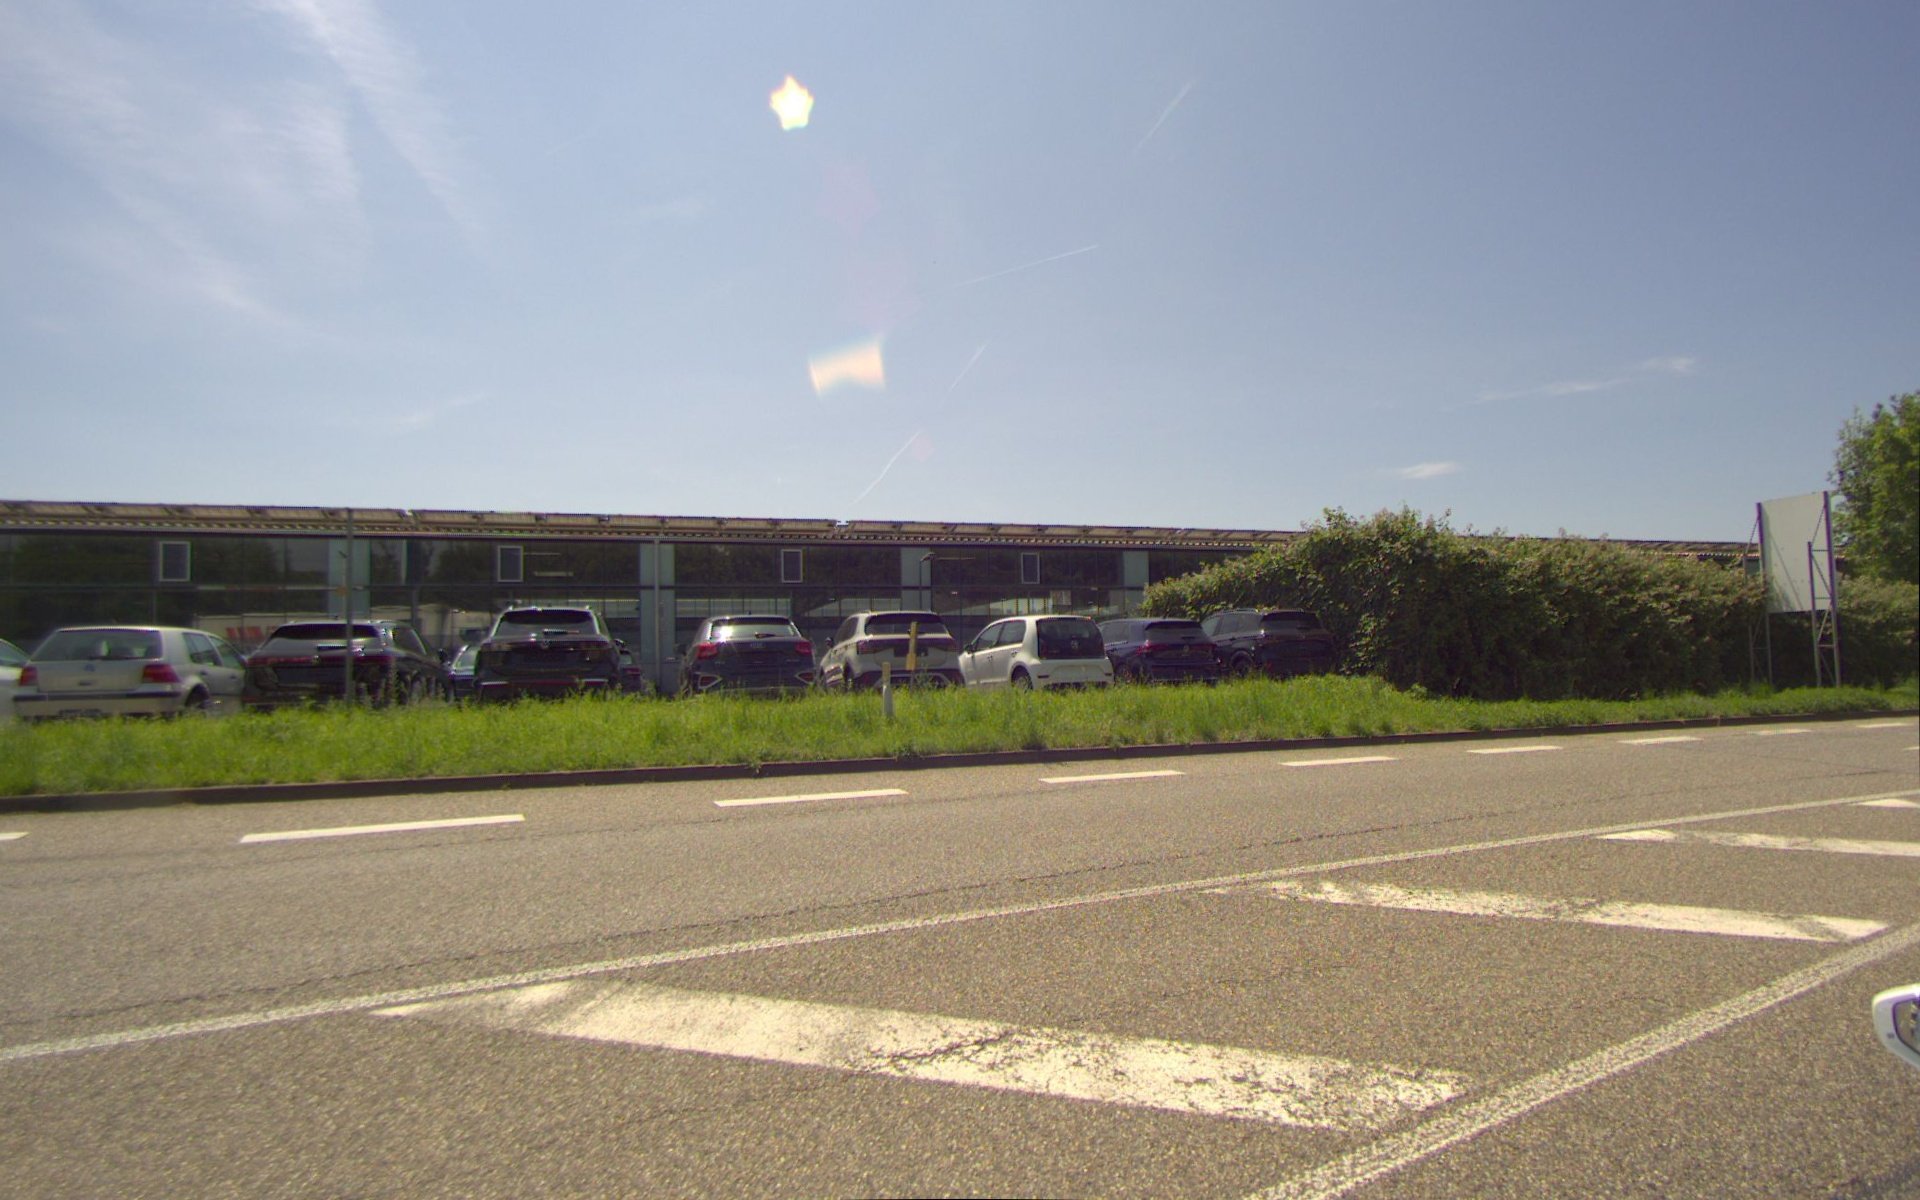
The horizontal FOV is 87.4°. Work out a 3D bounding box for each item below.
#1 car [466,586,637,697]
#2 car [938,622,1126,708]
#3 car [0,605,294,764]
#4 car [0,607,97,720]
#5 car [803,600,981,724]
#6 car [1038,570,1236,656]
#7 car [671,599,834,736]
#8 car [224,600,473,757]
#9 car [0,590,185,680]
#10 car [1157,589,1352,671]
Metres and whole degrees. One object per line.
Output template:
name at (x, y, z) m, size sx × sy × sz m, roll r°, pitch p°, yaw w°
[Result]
car at (-5.713, 0.618, 14.459) m, size 1.969 × 1.349 × 3.985 m, roll 0°, pitch -3°, yaw -19°
car at (1.121, 1.116, 17.756) m, size 1.806 × 1.334 × 3.982 m, roll 0°, pitch -3°, yaw -21°
car at (-10.592, 1.021, 13.298) m, size 1.904 × 1.773 × 3.984 m, roll 2°, pitch -2°, yaw -18°
car at (-12.706, 0.771, 12.200) m, size 1.970 × 1.377 × 4.231 m, roll 1°, pitch -2°, yaw -20°
car at (-1.263, 0.991, 16.563) m, size 1.969 × 1.772 × 3.985 m, roll 0°, pitch -3°, yaw -19°
car at (3.111, 0.320, 18.546) m, size 1.793 × 1.380 × 3.981 m, roll 0°, pitch -3°, yaw -21°
car at (-3.277, 0.986, 15.259) m, size 1.969 × 1.772 × 3.985 m, roll 0°, pitch -3°, yaw -19°
car at (-8.003, 0.982, 13.609) m, size 1.969 × 1.773 × 3.984 m, roll 2°, pitch -2°, yaw -18°
car at (-17.323, 0.704, 19.992) m, size 1.790 × 1.603 × 3.983 m, roll 2°, pitch -2°, yaw -19°
car at (5.473, 0.517, 19.138) m, size 1.775 × 1.391 × 3.693 m, roll 1°, pitch 0°, yaw -18°
